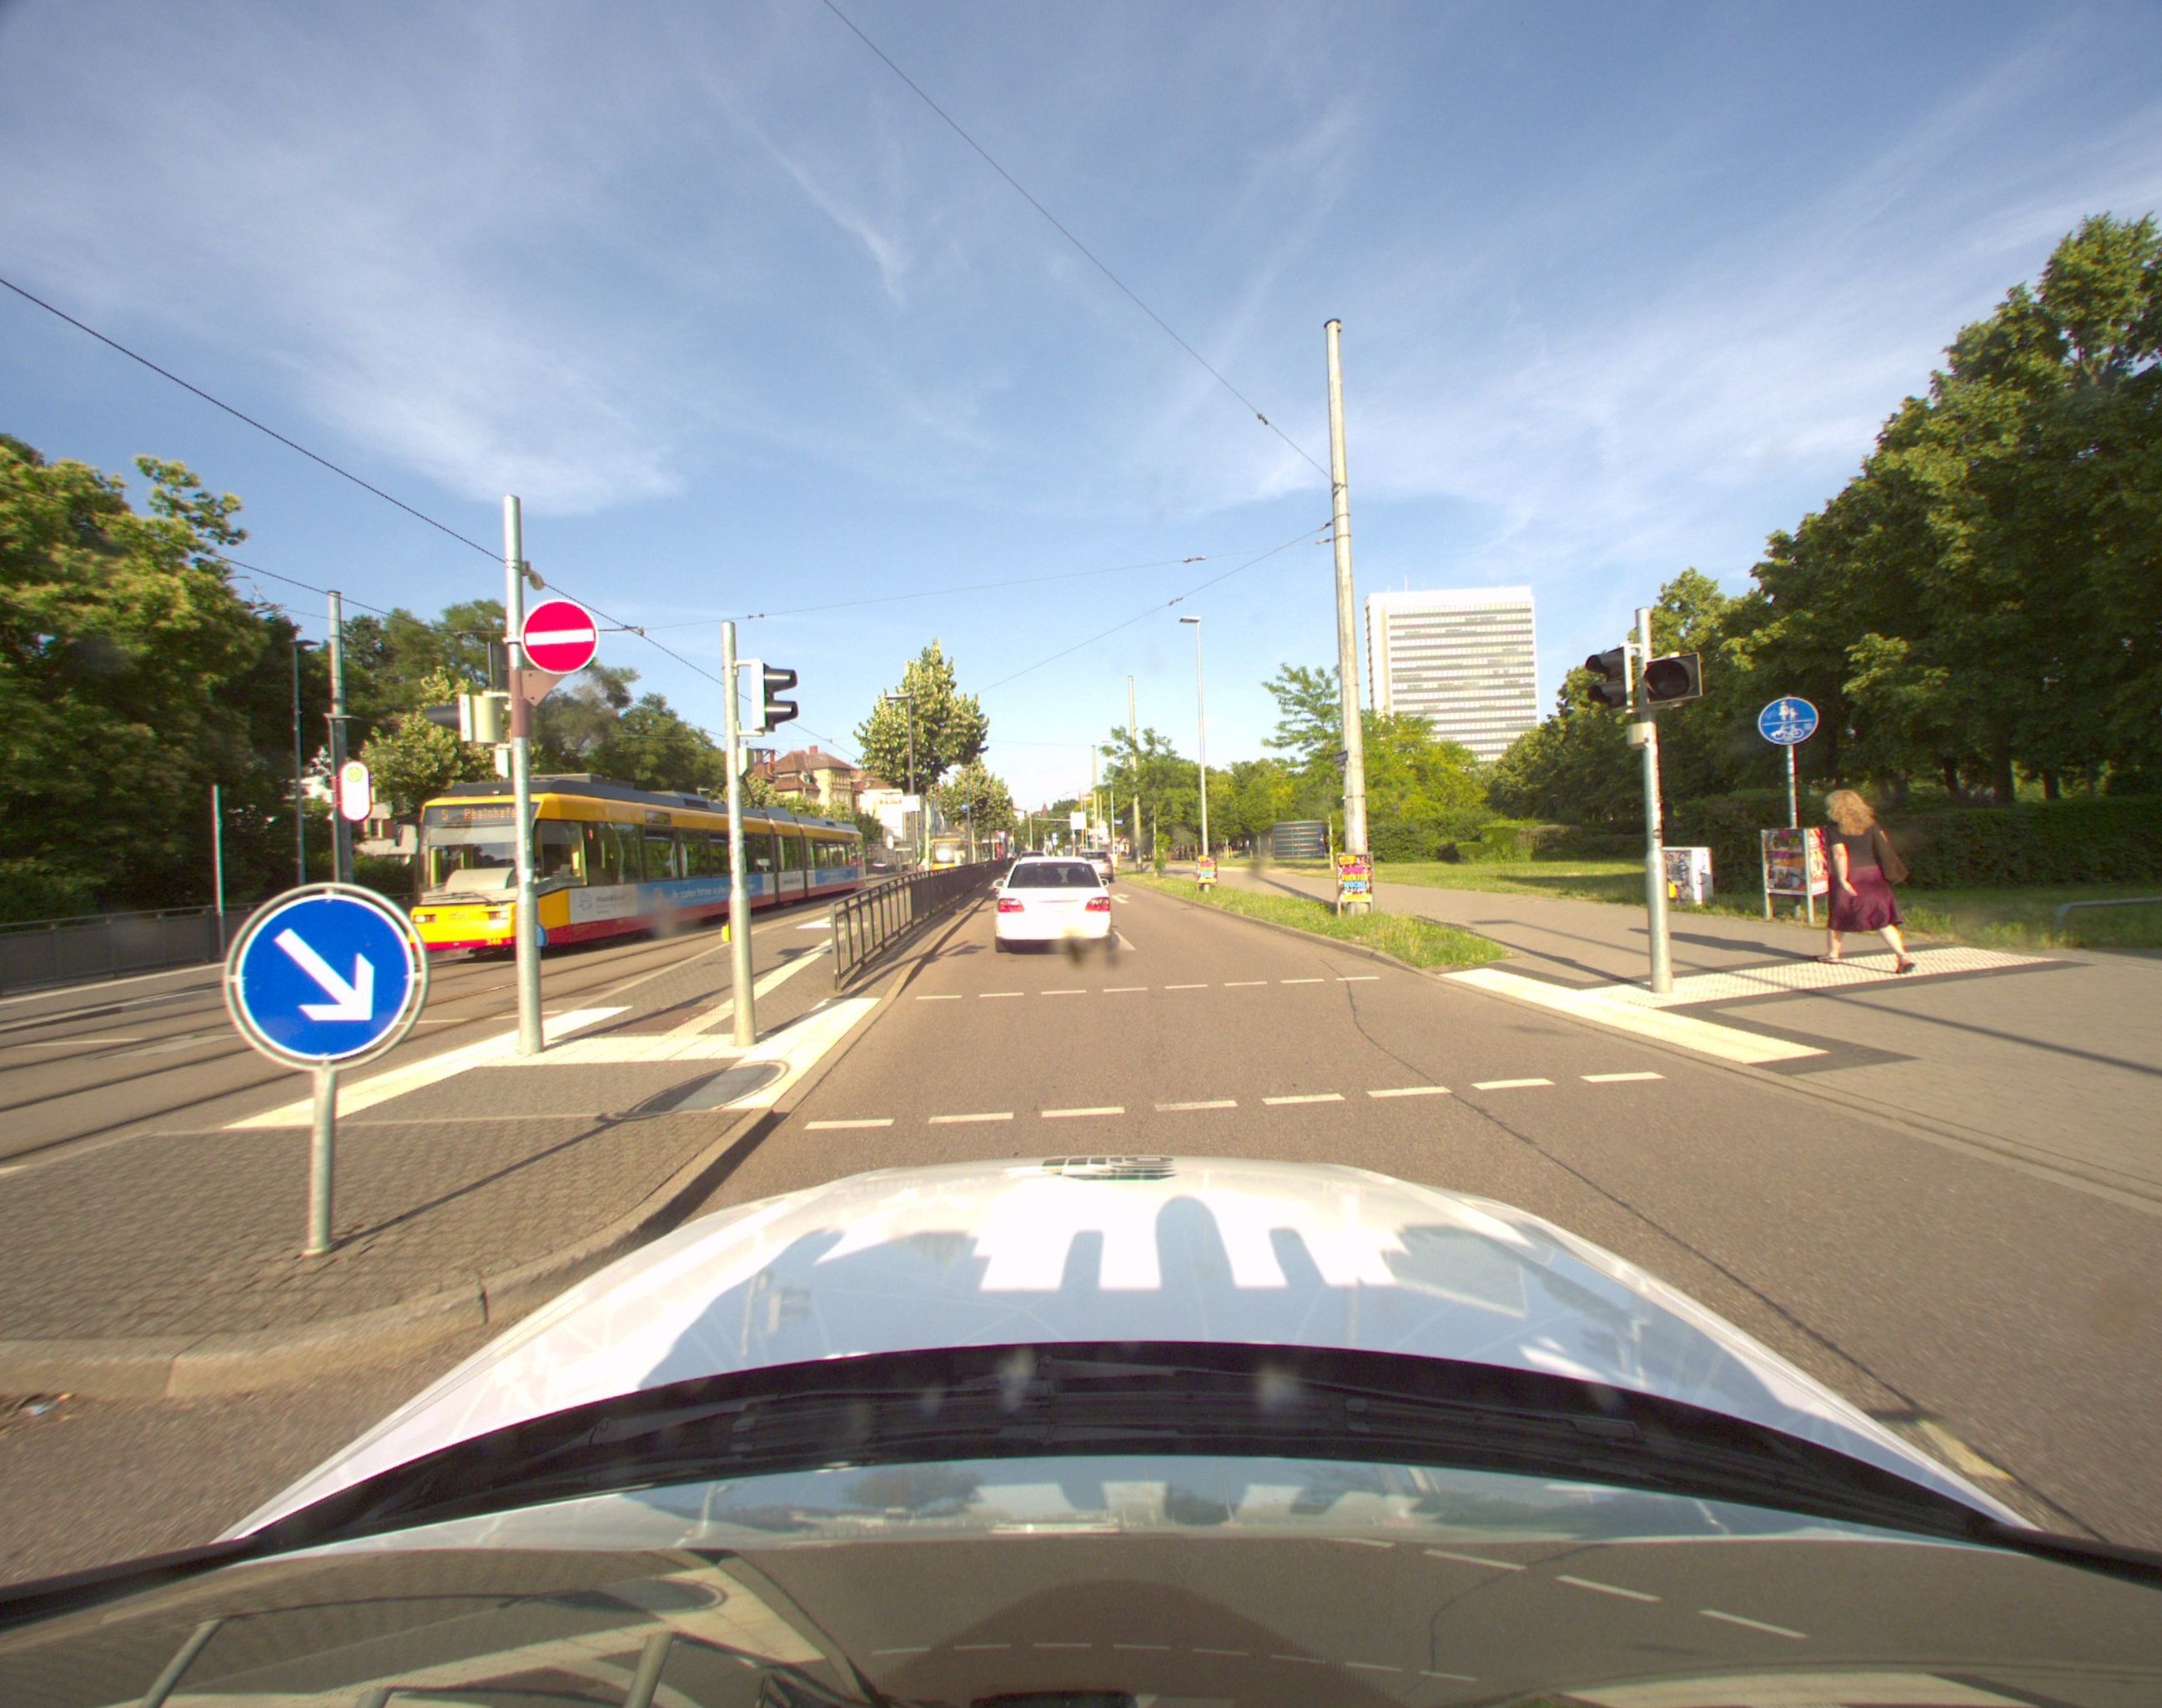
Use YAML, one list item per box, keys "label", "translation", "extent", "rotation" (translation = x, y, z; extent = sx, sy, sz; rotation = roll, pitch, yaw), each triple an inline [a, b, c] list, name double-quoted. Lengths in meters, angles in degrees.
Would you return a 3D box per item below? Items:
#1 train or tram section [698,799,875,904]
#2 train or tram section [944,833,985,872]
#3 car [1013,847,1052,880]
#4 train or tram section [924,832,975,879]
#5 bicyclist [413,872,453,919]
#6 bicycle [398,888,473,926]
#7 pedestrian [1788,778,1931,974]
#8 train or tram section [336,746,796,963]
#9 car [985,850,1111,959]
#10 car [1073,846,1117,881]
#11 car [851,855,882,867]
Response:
- label: "train or tram section"
  translation: [-11.856, -0.129, 34.987]
  extent: [3.155, 3.479, 14.452]
  rotation: [-2, 0, -4]
- label: "train or tram section"
  translation: [-11.544, -0.166, 81.651]
  extent: [2.843, 3.479, 13.184]
  rotation: [-2, 0, -3]
- label: "car"
  translation: [-2.609, 0.466, 44.765]
  extent: [1.781, 1.690, 4.001]
  rotation: [-2, 0, 1]
- label: "train or tram section"
  translation: [-10.850, 0.057, 68.691]
  extent: [2.843, 3.479, 13.184]
  rotation: [-1, 1, -3]
- label: "bicyclist"
  translation: [-20.362, 1.289, 25.587]
  extent: [0.648, 1.413, 0.717]
  rotation: [-2, 0, -1]
- label: "bicycle"
  translation: [-20.338, 1.656, 25.734]
  extent: [0.540, 1.018, 2.250]
  rotation: [-2, 0, 0]
- label: "pedestrian"
  translation: [7.188, 0.195, 7.542]
  extent: [0.613, 1.692, 0.548]
  rotation: [-7, 0, 0]
- label: "train or tram section"
  translation: [-10.934, -0.049, 20.589]
  extent: [3.155, 3.479, 14.513]
  rotation: [-2, 0, -4]
- label: "car"
  translation: [-0.419, 0.755, 13.557]
  extent: [1.752, 1.504, 4.001]
  rotation: [-1, -1, 1]
- label: "car"
  translation: [0.680, 0.434, 40.144]
  extent: [2.026, 1.605, 4.000]
  rotation: [-2, 0, 1]
- label: "car"
  translation: [-33.123, 1.079, 125.880]
  extent: [2.185, 1.628, 4.740]
  rotation: [-1, 0, 20]
